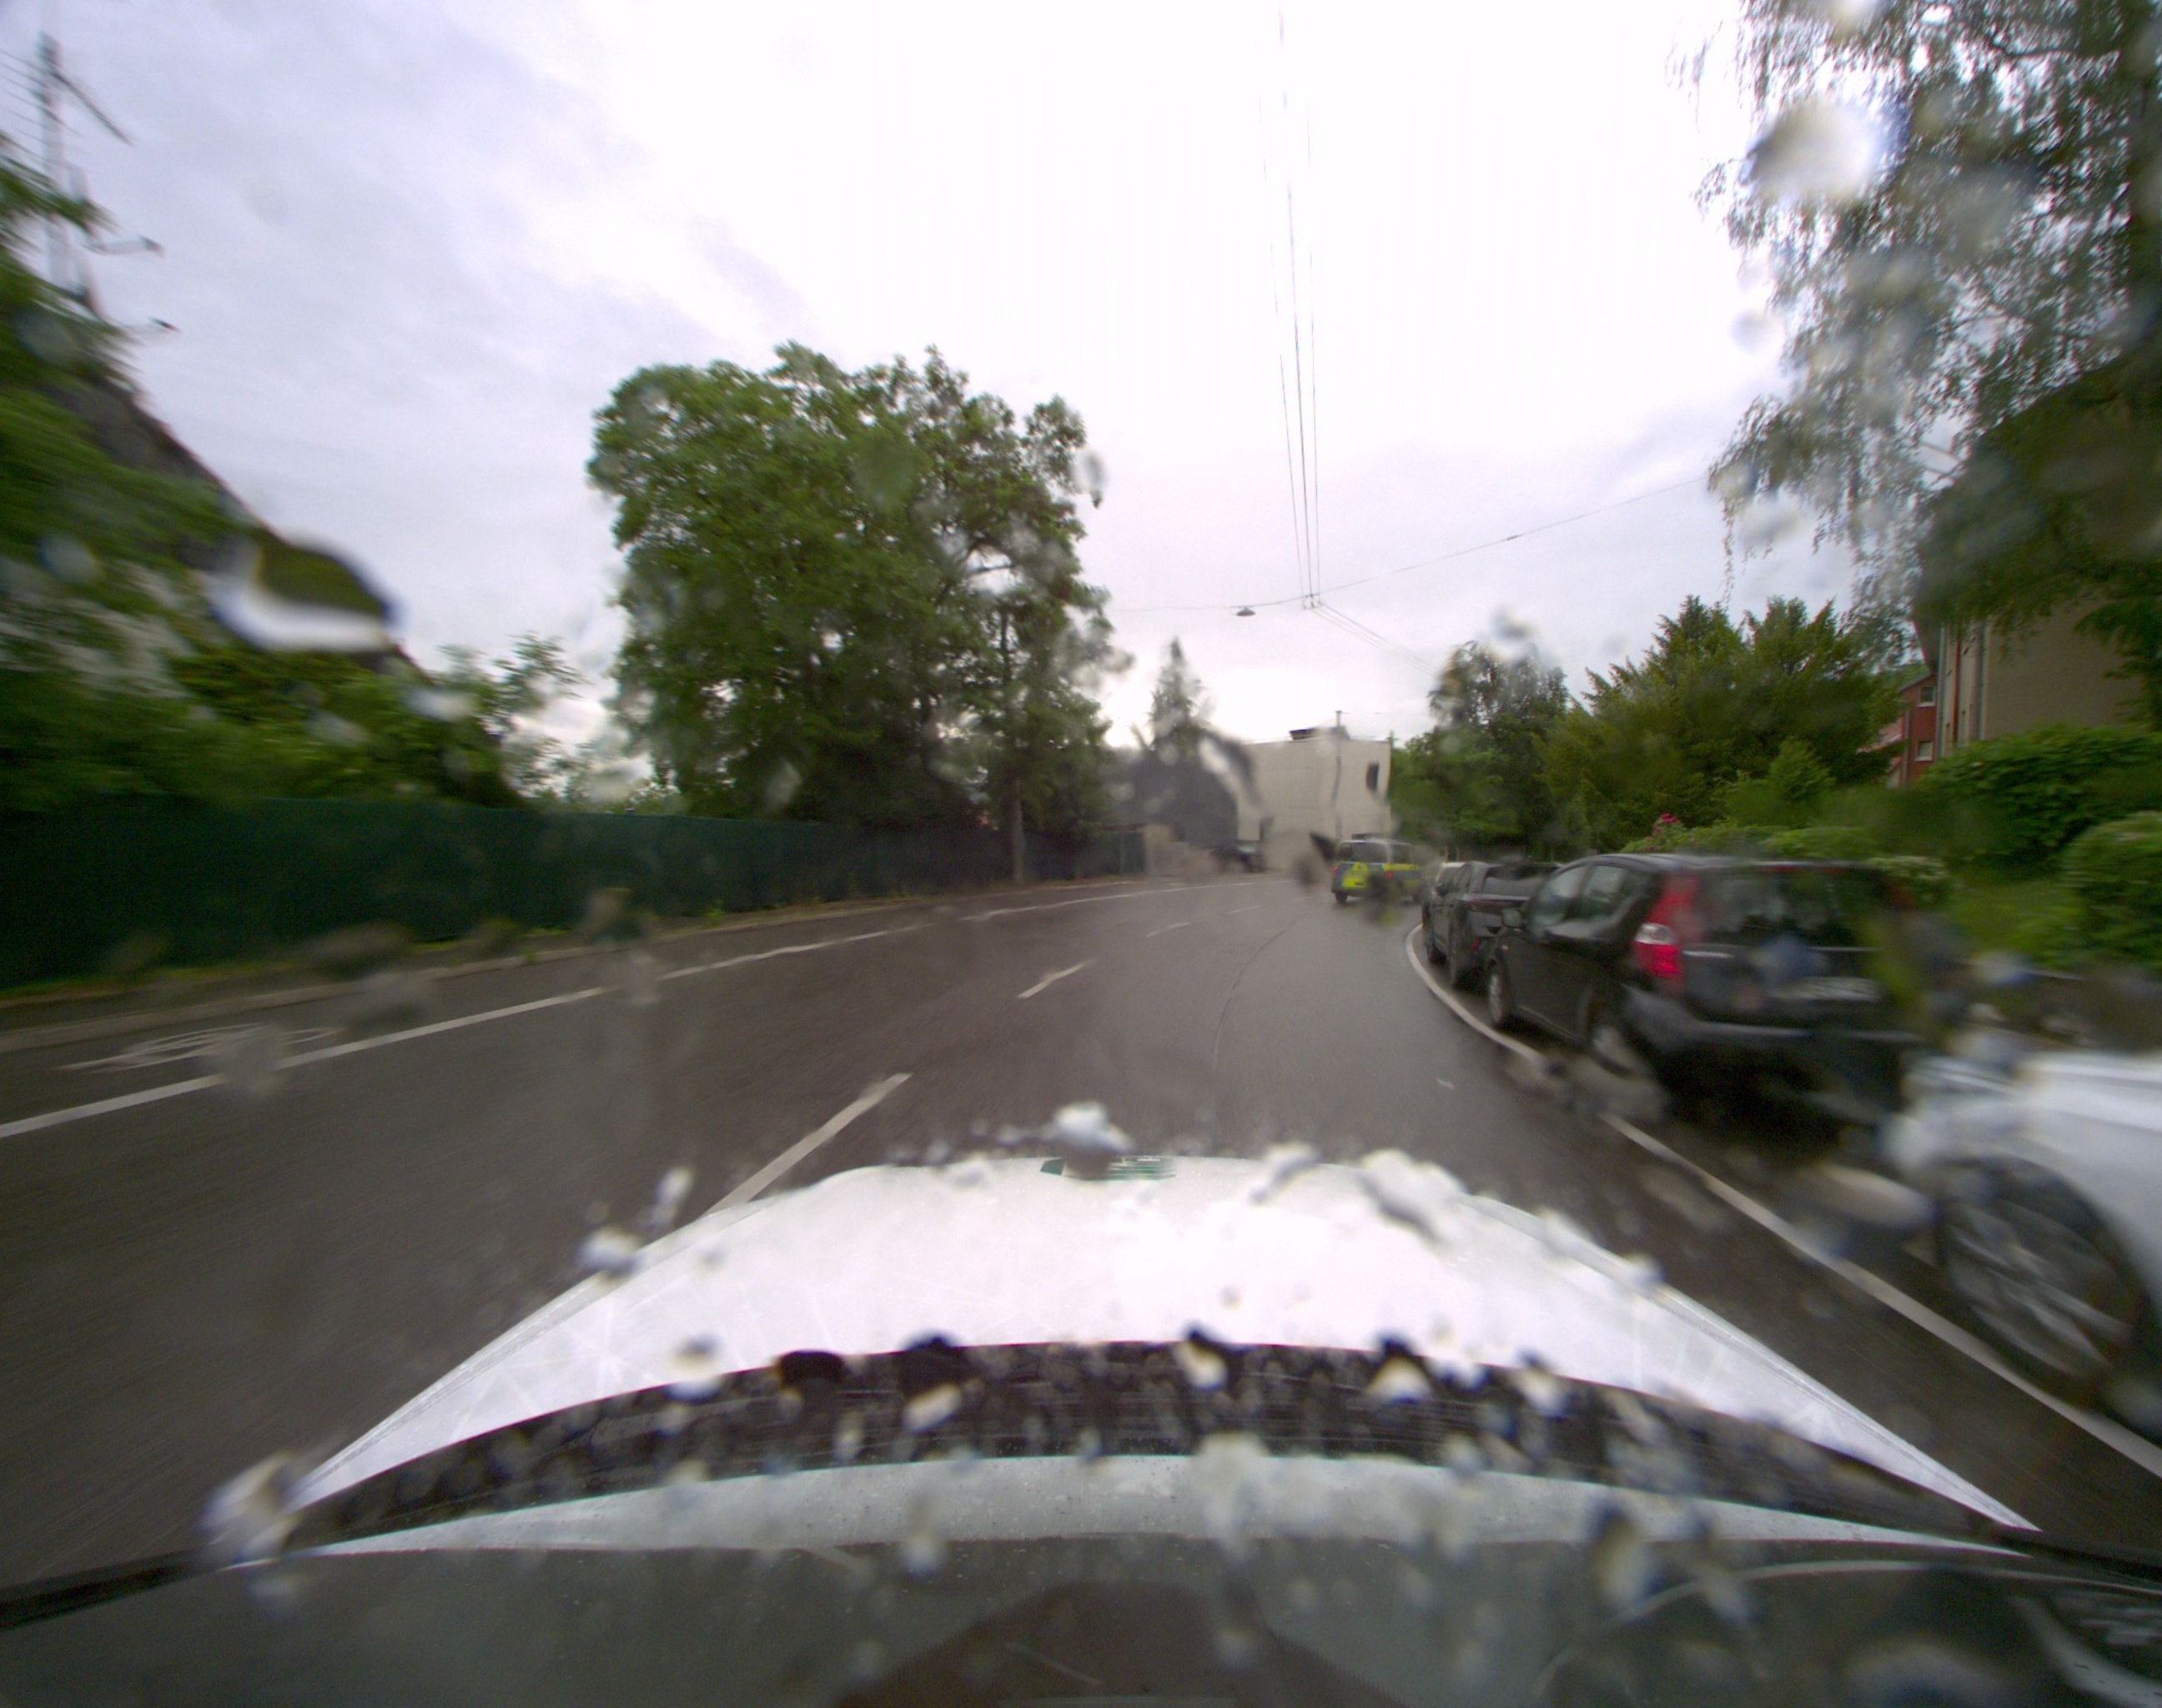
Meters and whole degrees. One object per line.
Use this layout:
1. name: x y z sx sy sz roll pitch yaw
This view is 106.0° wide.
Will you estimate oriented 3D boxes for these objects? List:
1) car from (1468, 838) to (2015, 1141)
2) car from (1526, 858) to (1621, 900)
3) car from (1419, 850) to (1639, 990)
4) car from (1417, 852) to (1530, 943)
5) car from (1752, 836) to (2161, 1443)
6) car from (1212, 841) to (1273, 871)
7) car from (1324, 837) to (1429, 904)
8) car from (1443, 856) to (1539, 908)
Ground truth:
1. car: 4.188 0.696 5.968 1.609 1.505 3.617 -3 0 12
2. car: 18.876 0.917 31.113 4.593 1.435 1.764 0 0 -41
3. car: 5.570 0.713 10.669 1.701 1.435 4.087 -3 0 17
4. car: 7.383 0.753 15.594 1.667 1.471 3.759 -3 0 23
5. car: 3.438 0.692 1.240 1.718 1.464 4.037 -3 0 5
6. car: 7.886 0.054 40.114 1.888 1.301 3.994 1 1 -5
7. car: 9.419 0.502 25.708 1.974 1.893 4.599 1 -1 35
8. car: 12.151 0.756 23.974 1.789 1.348 4.649 -1 0 36
